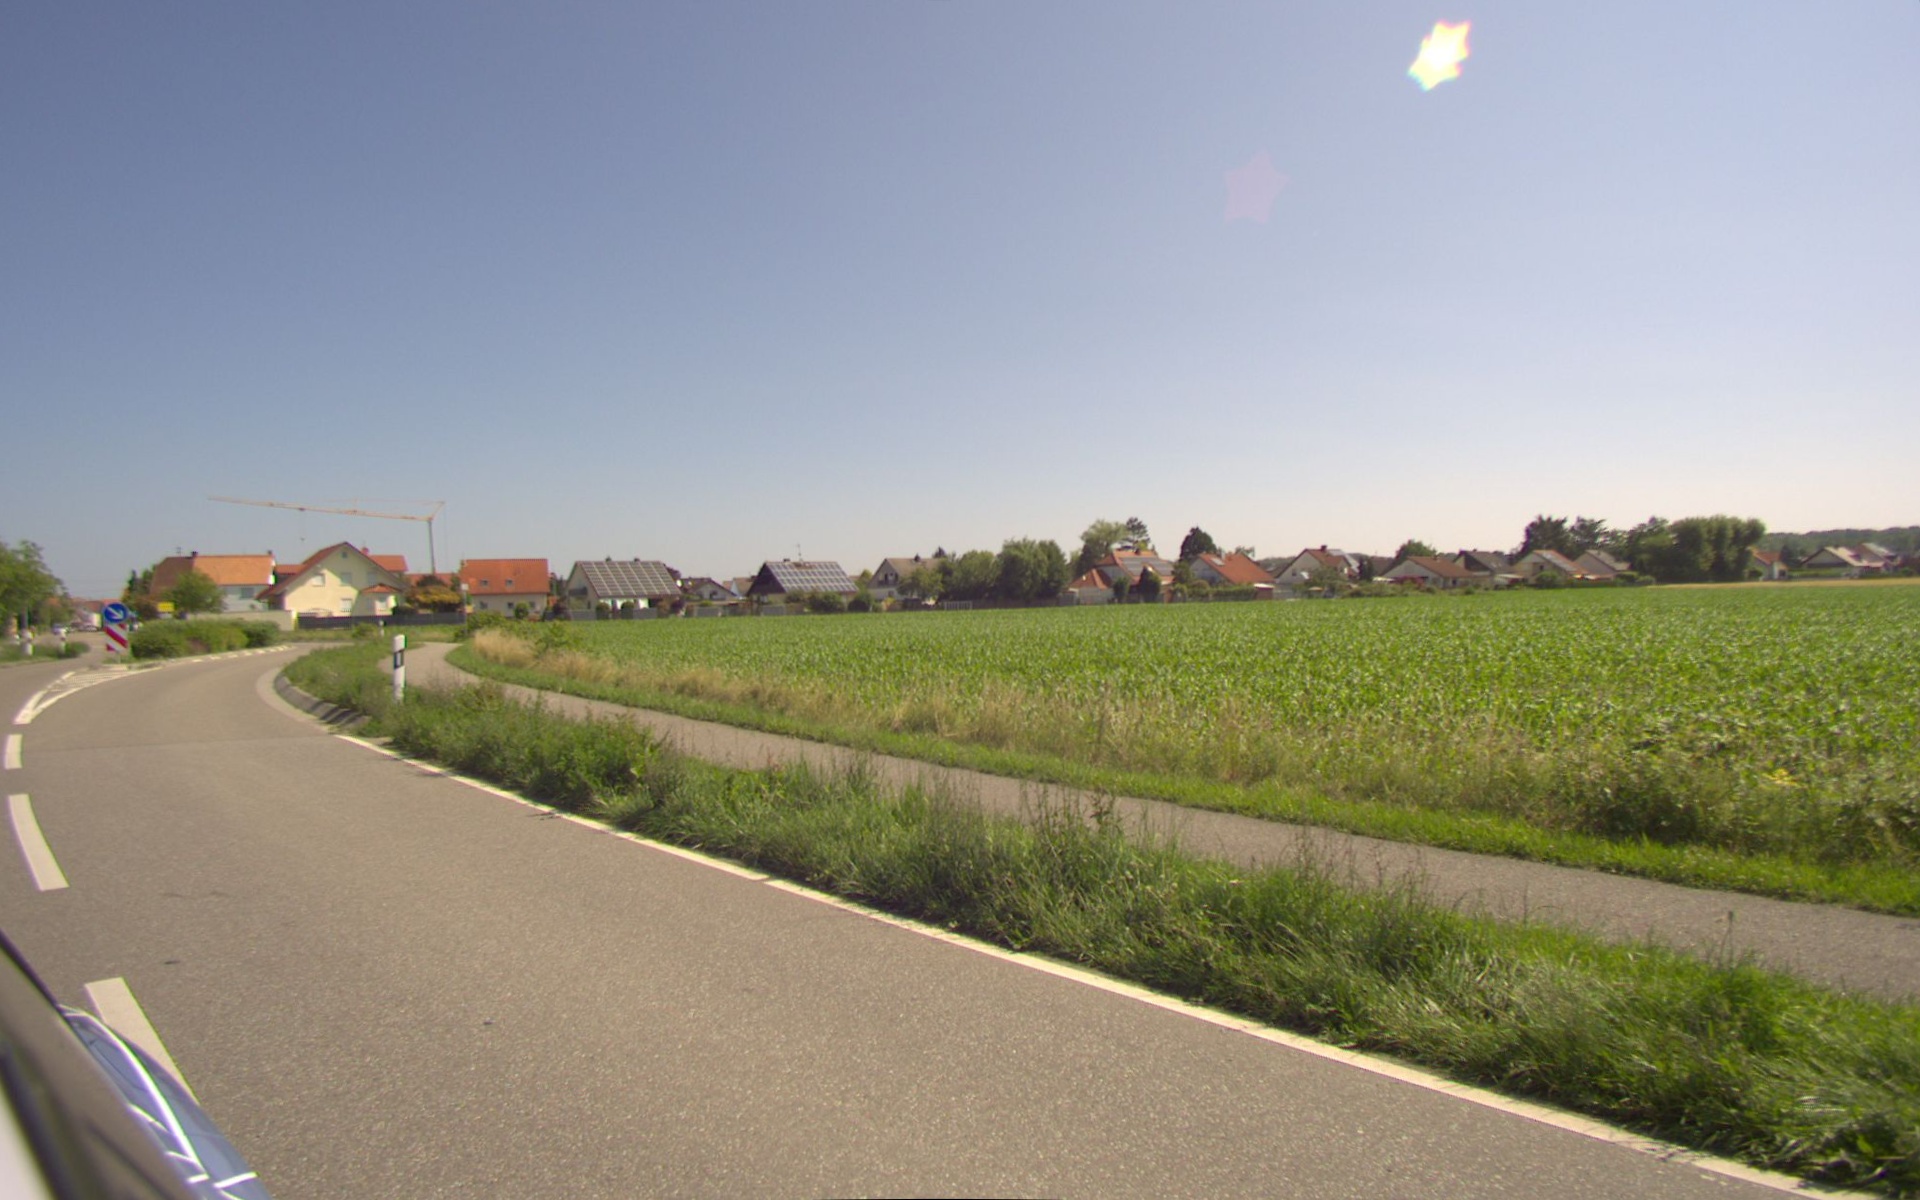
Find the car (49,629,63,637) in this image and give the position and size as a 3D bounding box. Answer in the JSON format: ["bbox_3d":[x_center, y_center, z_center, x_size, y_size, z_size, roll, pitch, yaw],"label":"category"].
[{"bbox_3d":[-155.493,5.689,174.134,1.707,1.398,3.537,-1,0,-41],"label":"car"}]
